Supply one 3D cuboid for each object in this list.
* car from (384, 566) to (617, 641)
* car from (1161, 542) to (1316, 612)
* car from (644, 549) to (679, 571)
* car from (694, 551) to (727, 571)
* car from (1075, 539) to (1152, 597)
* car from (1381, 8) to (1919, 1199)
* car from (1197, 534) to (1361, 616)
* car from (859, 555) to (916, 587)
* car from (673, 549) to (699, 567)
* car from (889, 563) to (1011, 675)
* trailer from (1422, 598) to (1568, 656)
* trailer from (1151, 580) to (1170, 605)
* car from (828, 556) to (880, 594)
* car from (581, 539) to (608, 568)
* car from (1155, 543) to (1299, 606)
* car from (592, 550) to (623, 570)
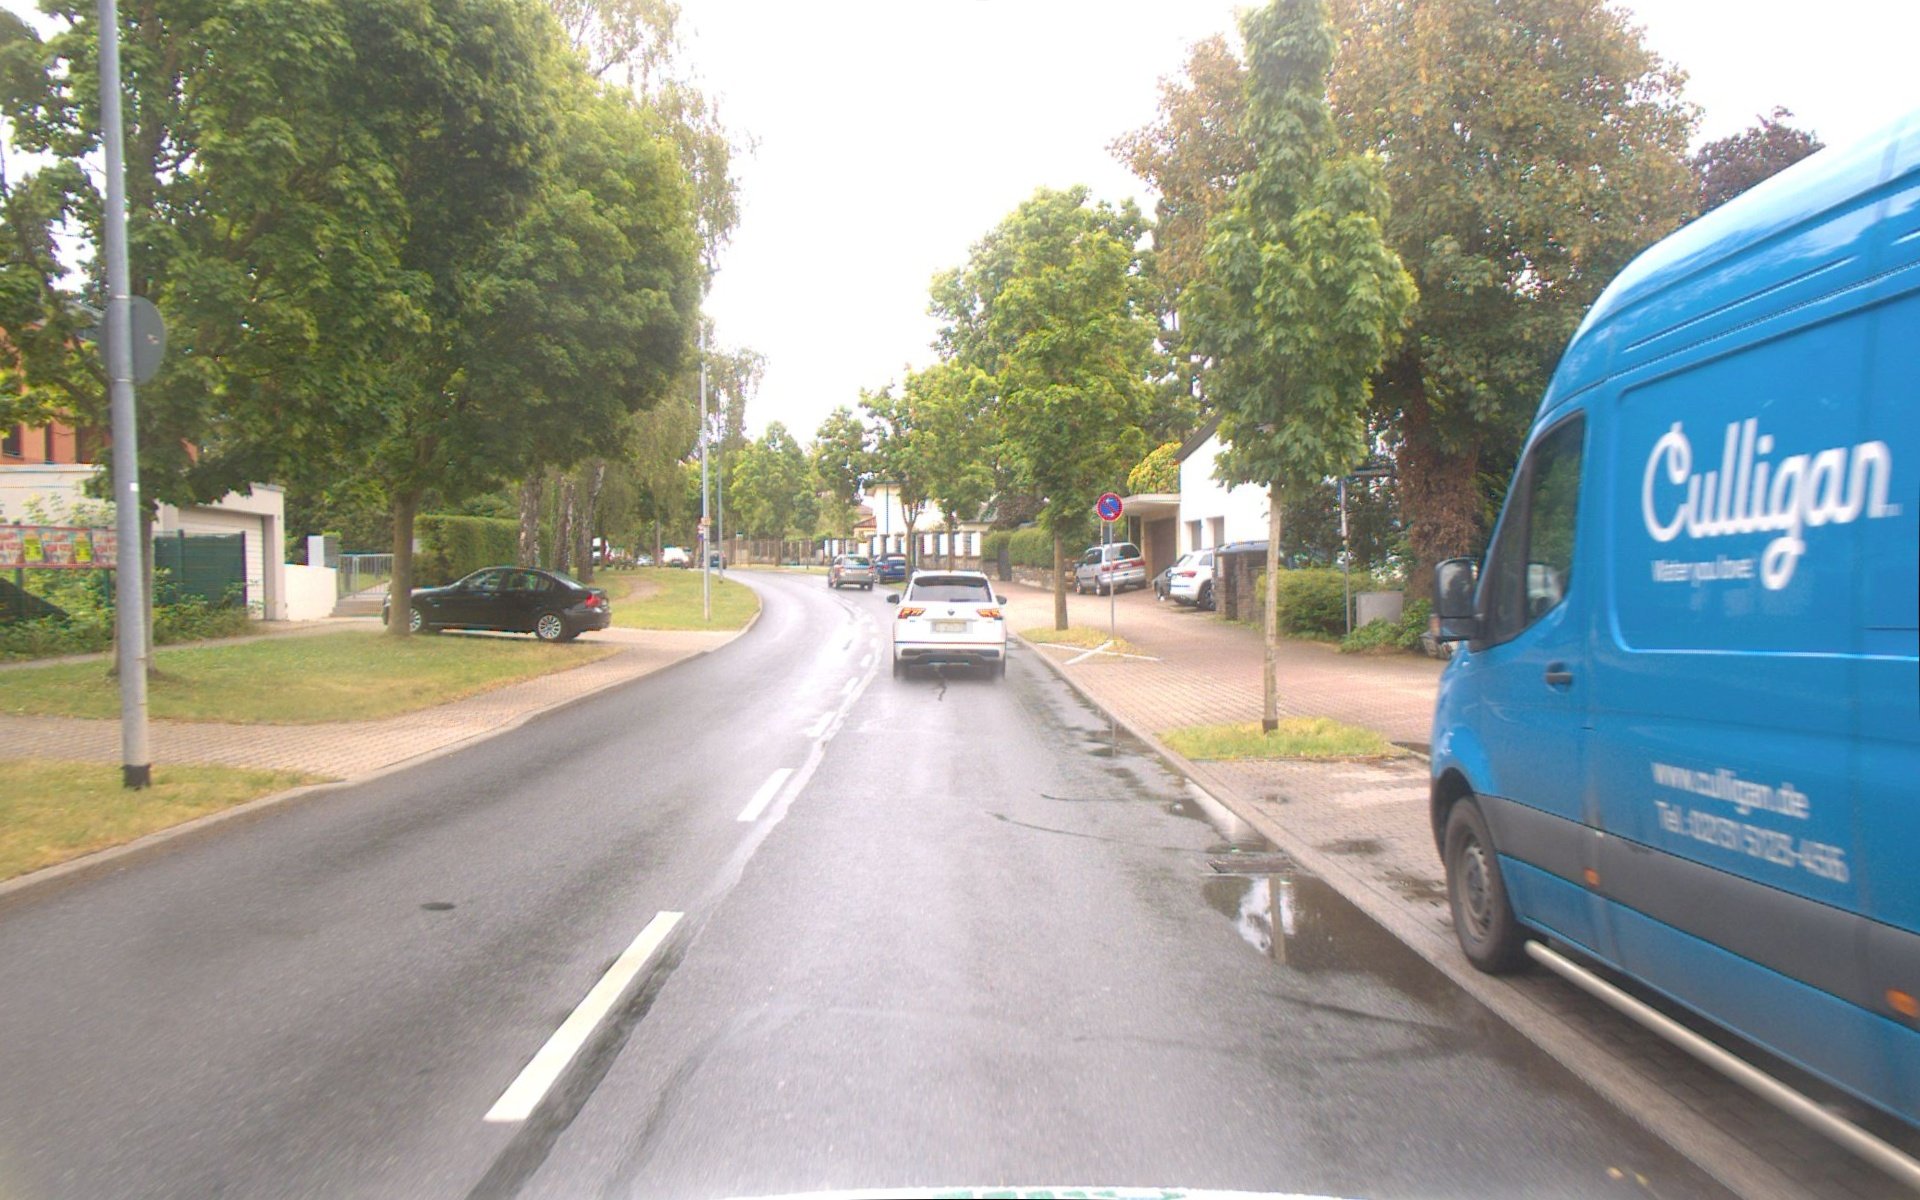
[{"bbox_3d":[-9.124,0.057,33.014,4.130,1.386,1.691,1,0,3],"label":"car"},{"bbox_3d":[7.763,-0.657,46.331,3.909,1.843,1.828,1,3,-5],"label":"car"},{"bbox_3d":[-20.901,-2.828,115.767,1.741,1.452,3.976,0,1,-21],"label":"car"},{"bbox_3d":[-18.406,-2.893,121.852,1.619,1.452,3.975,0,1,-21],"label":"car"},{"bbox_3d":[5.526,-1.207,60.038,1.790,1.732,3.996,-9,3,-6],"label":"car"},{"bbox_3d":[2.977,0.040,4.592,1.953,2.631,5.632,-2,1,-2],"label":"car"},{"bbox_3d":[8.466,-0.688,44.064,3.909,2.048,1.828,1,3,-5],"label":"car"},{"bbox_3d":[-3.466,-1.393,78.430,1.618,1.452,3.977,0,1,-20],"label":"car"},{"bbox_3d":[-23.039,-3.516,138.936,1.617,1.452,3.980,1,1,-18],"label":"car"},{"bbox_3d":[-0.186,0.272,27.191,1.827,1.679,3.999,-1,1,-1],"label":"car"},{"bbox_3d":[8.852,0.442,27.477,2.000,0.899,1.365,1,0,2],"label":"trailer"},{"bbox_3d":[6.342,-0.250,52.386,0.409,0.770,1.367,1,0,0],"label":"trailer"},{"bbox_3d":[-4.666,-1.073,72.612,1.738,1.578,3.988,-1,0,-12],"label":"car"},{"bbox_3d":[-32.004,-4.075,144.622,1.741,2.428,3.976,0,1,-21],"label":"car"},{"bbox_3d":[7.931,-0.777,49.371,3.909,1.738,1.828,1,3,-5],"label":"car"},{"bbox_3d":[-27.006,-3.073,126.571,1.741,1.452,3.976,0,1,-21],"label":"car"}]
